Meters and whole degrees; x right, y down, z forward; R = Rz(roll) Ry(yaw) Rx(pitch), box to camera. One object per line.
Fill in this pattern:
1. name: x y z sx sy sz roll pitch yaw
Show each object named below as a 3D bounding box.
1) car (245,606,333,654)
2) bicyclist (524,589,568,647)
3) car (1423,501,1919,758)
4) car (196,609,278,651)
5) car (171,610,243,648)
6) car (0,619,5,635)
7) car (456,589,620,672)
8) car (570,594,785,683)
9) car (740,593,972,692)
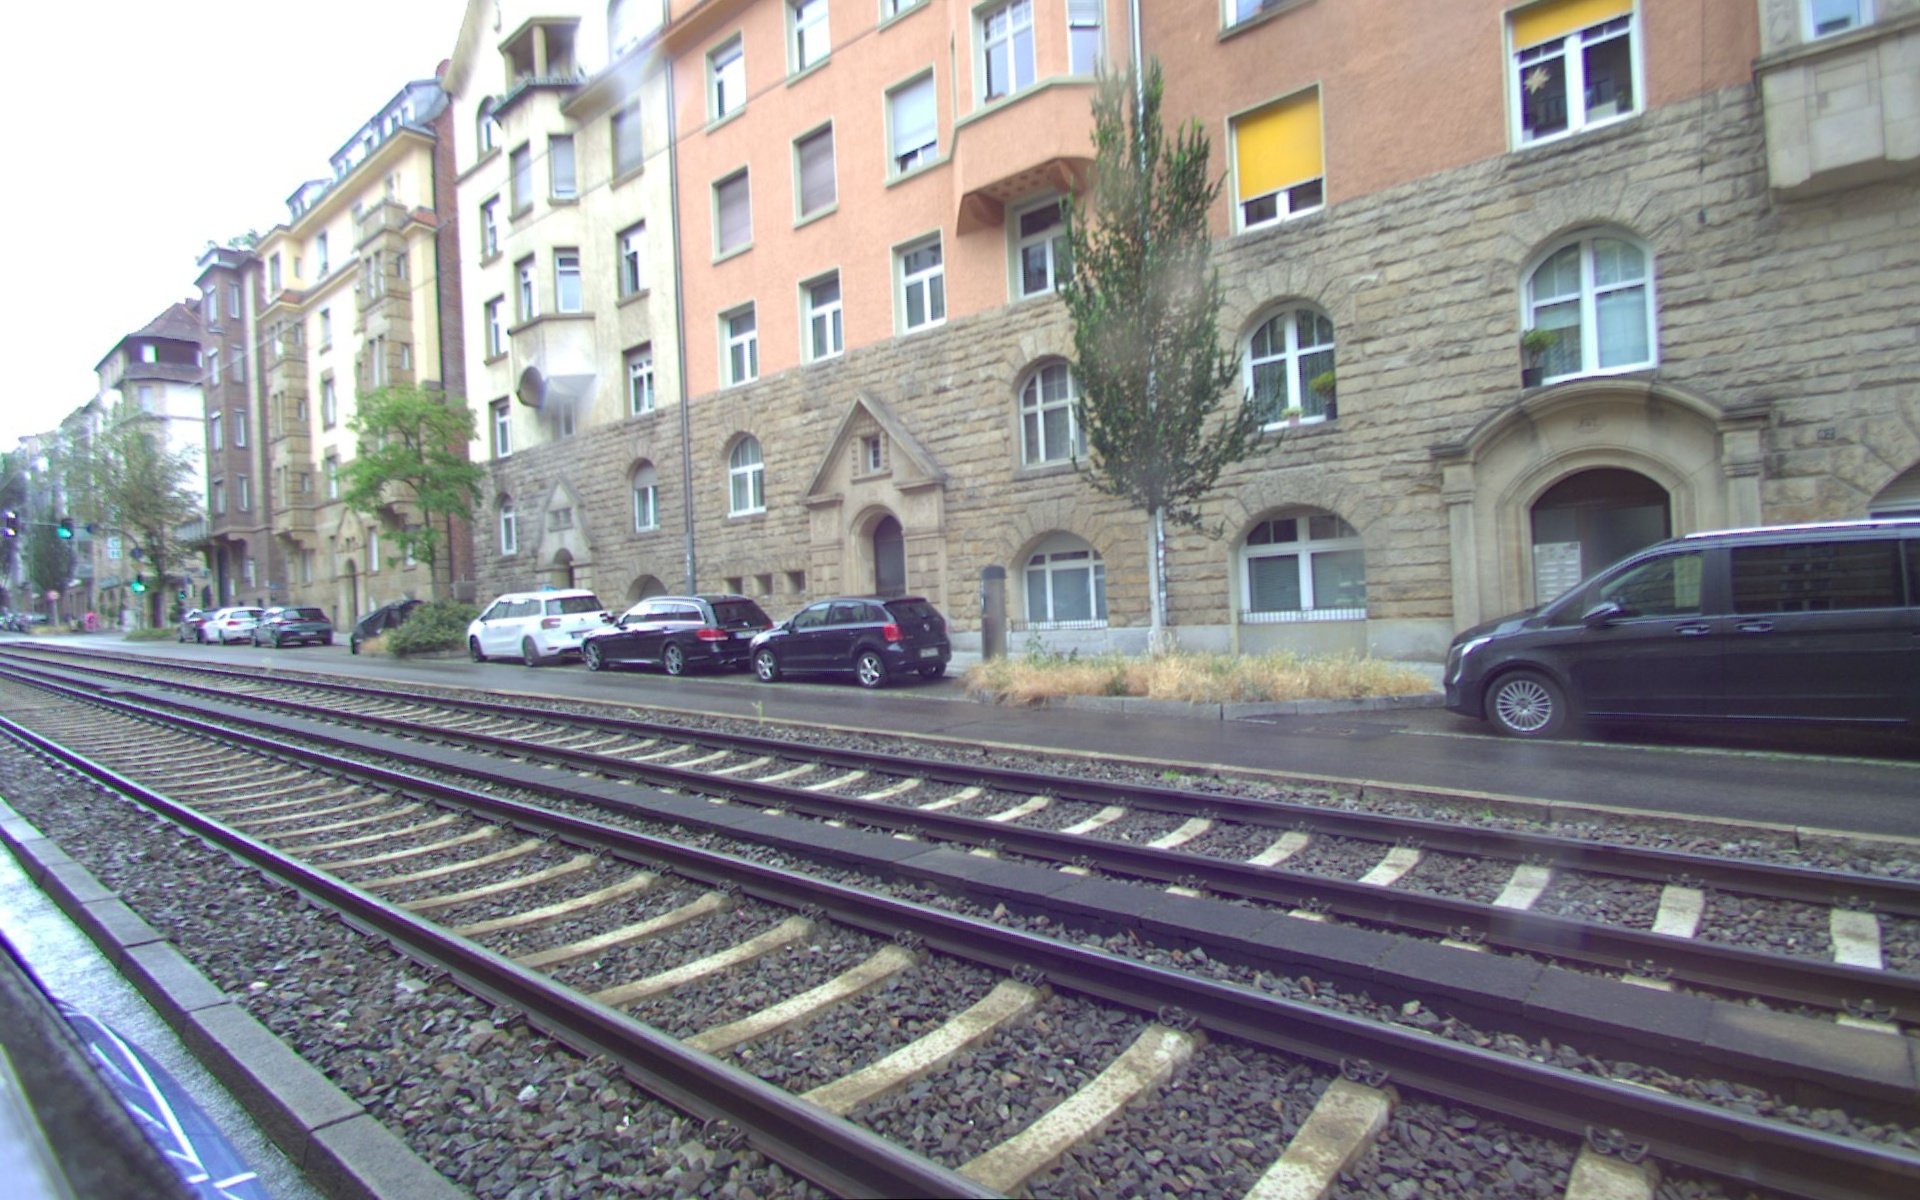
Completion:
1. car: -23.947 1.032 36.075 3.712 1.493 1.695 -1 3 42
2. bicyclist: -11.724 0.503 28.658 0.774 1.613 0.883 -1 0 41
3. car: 7.011 0.224 9.120 4.829 1.945 1.886 -1 0 40
4. car: -28.582 1.154 39.973 4.043 1.462 1.737 -1 3 42
5. car: -32.168 1.188 43.220 3.712 1.438 1.737 -1 3 42
6. car: -81.759 2.290 85.051 4.255 1.356 1.771 -1 0 41
7. car: -9.960 0.673 23.740 4.257 1.684 1.738 -1 3 40
8. car: -5.678 0.697 20.034 4.593 1.502 1.738 -1 2 39
9. car: -1.803 0.653 17.024 3.690 1.414 1.739 -1 2 38
